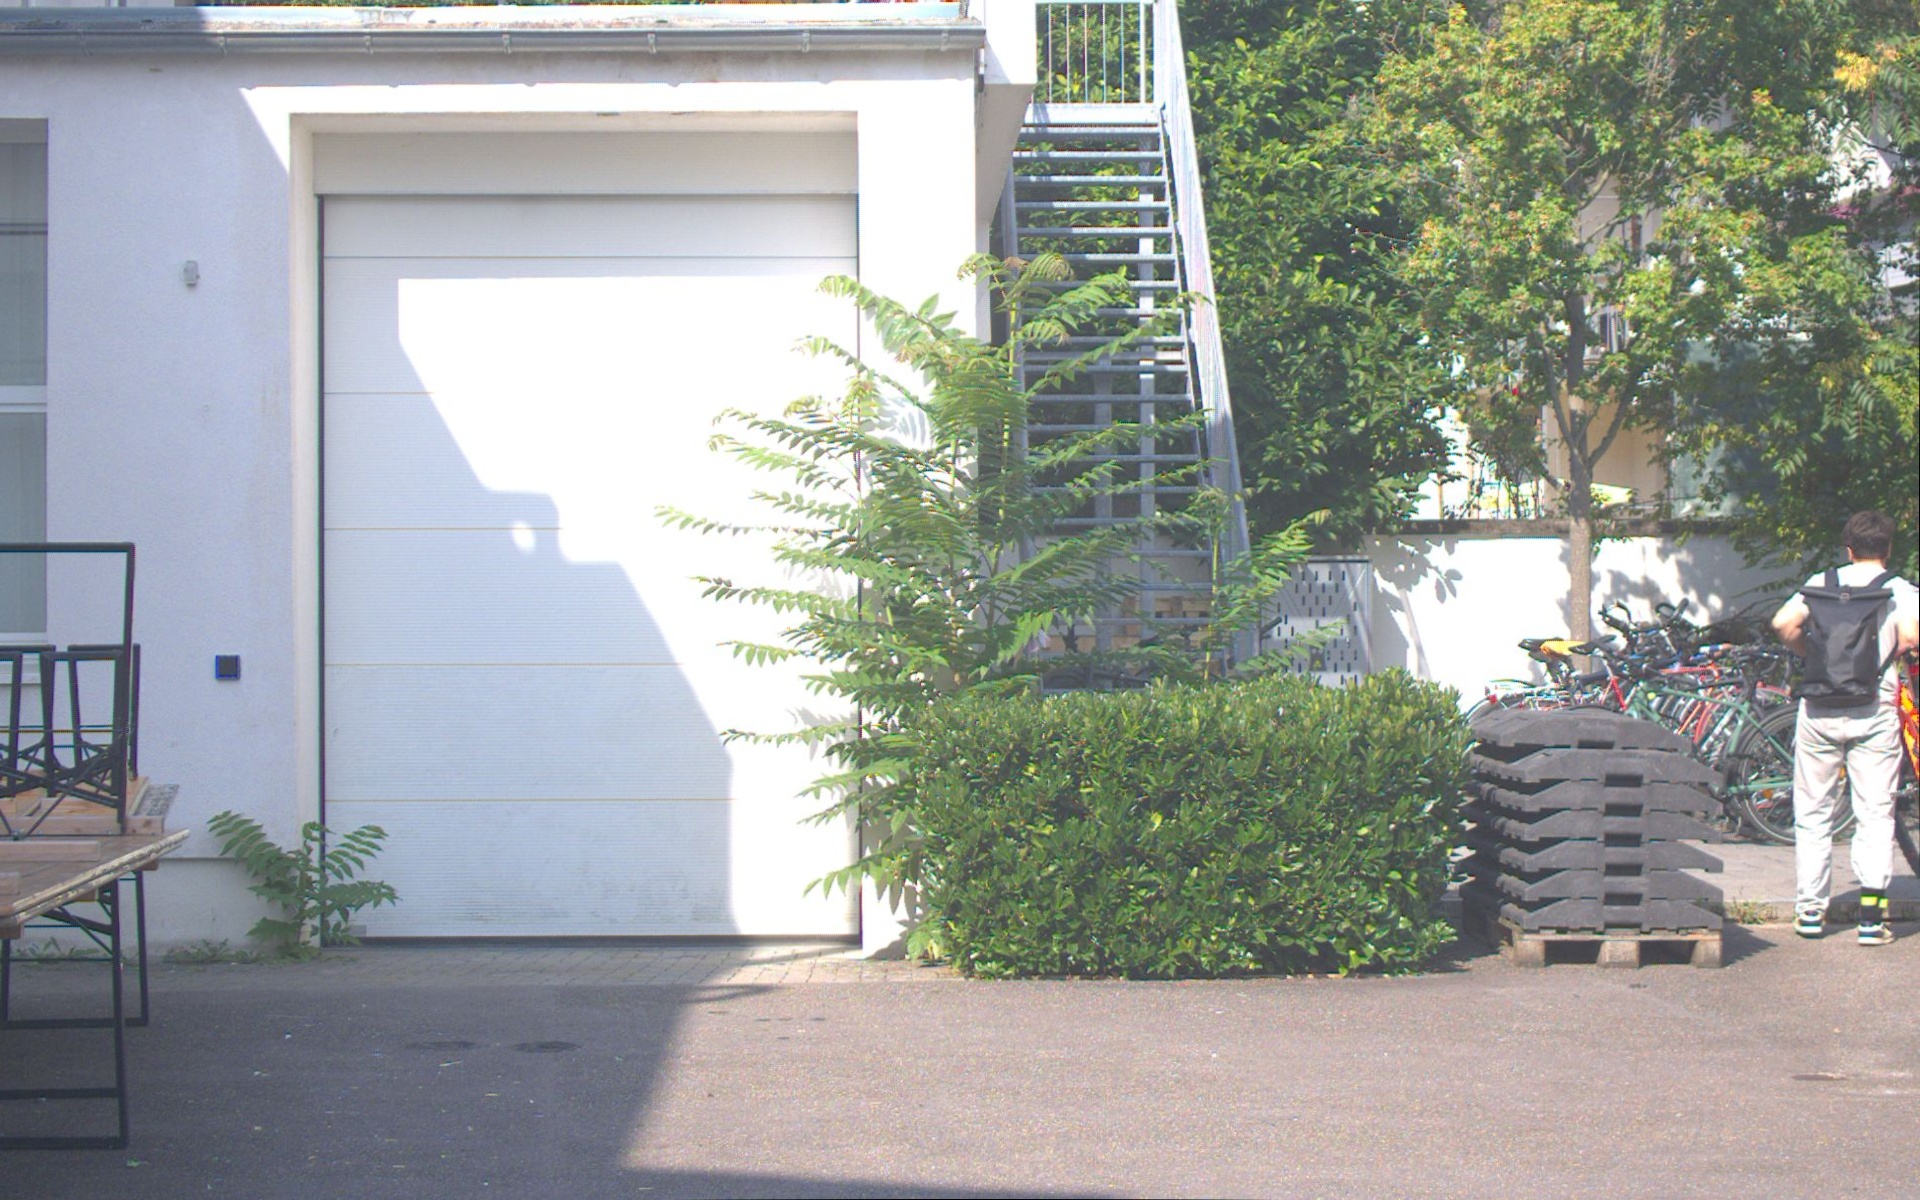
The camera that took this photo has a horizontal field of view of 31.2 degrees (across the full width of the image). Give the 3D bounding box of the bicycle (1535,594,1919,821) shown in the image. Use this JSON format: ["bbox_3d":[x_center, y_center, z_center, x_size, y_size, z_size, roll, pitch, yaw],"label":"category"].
[{"bbox_3d":[4.512,0.602,19.443,2.411,1.242,0.526,1,0,-1],"label":"bicycle"}]

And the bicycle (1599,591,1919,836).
[{"bbox_3d":[4.615,0.592,18.031,2.411,1.242,0.526,1,0,-1],"label":"bicycle"}]

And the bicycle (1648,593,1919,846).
[{"bbox_3d":[4.744,0.602,17.374,2.411,1.242,0.526,1,0,-1],"label":"bicycle"}]

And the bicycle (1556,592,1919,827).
[{"bbox_3d":[4.525,0.596,18.826,2.411,1.242,0.526,1,0,-1],"label":"bicycle"}]

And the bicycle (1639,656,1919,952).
[{"bbox_3d":[3.761,0.827,14.155,0.488,1.140,1.993,-2,2,-42],"label":"bicycle"}]

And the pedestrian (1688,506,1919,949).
[{"bbox_3d":[3.522,0.504,14.191,0.858,1.765,0.611,0,1,-43],"label":"pedestrian"}]

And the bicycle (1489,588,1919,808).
[{"bbox_3d":[4.360,0.567,20.155,2.411,1.242,0.526,1,0,-1],"label":"bicycle"}]
